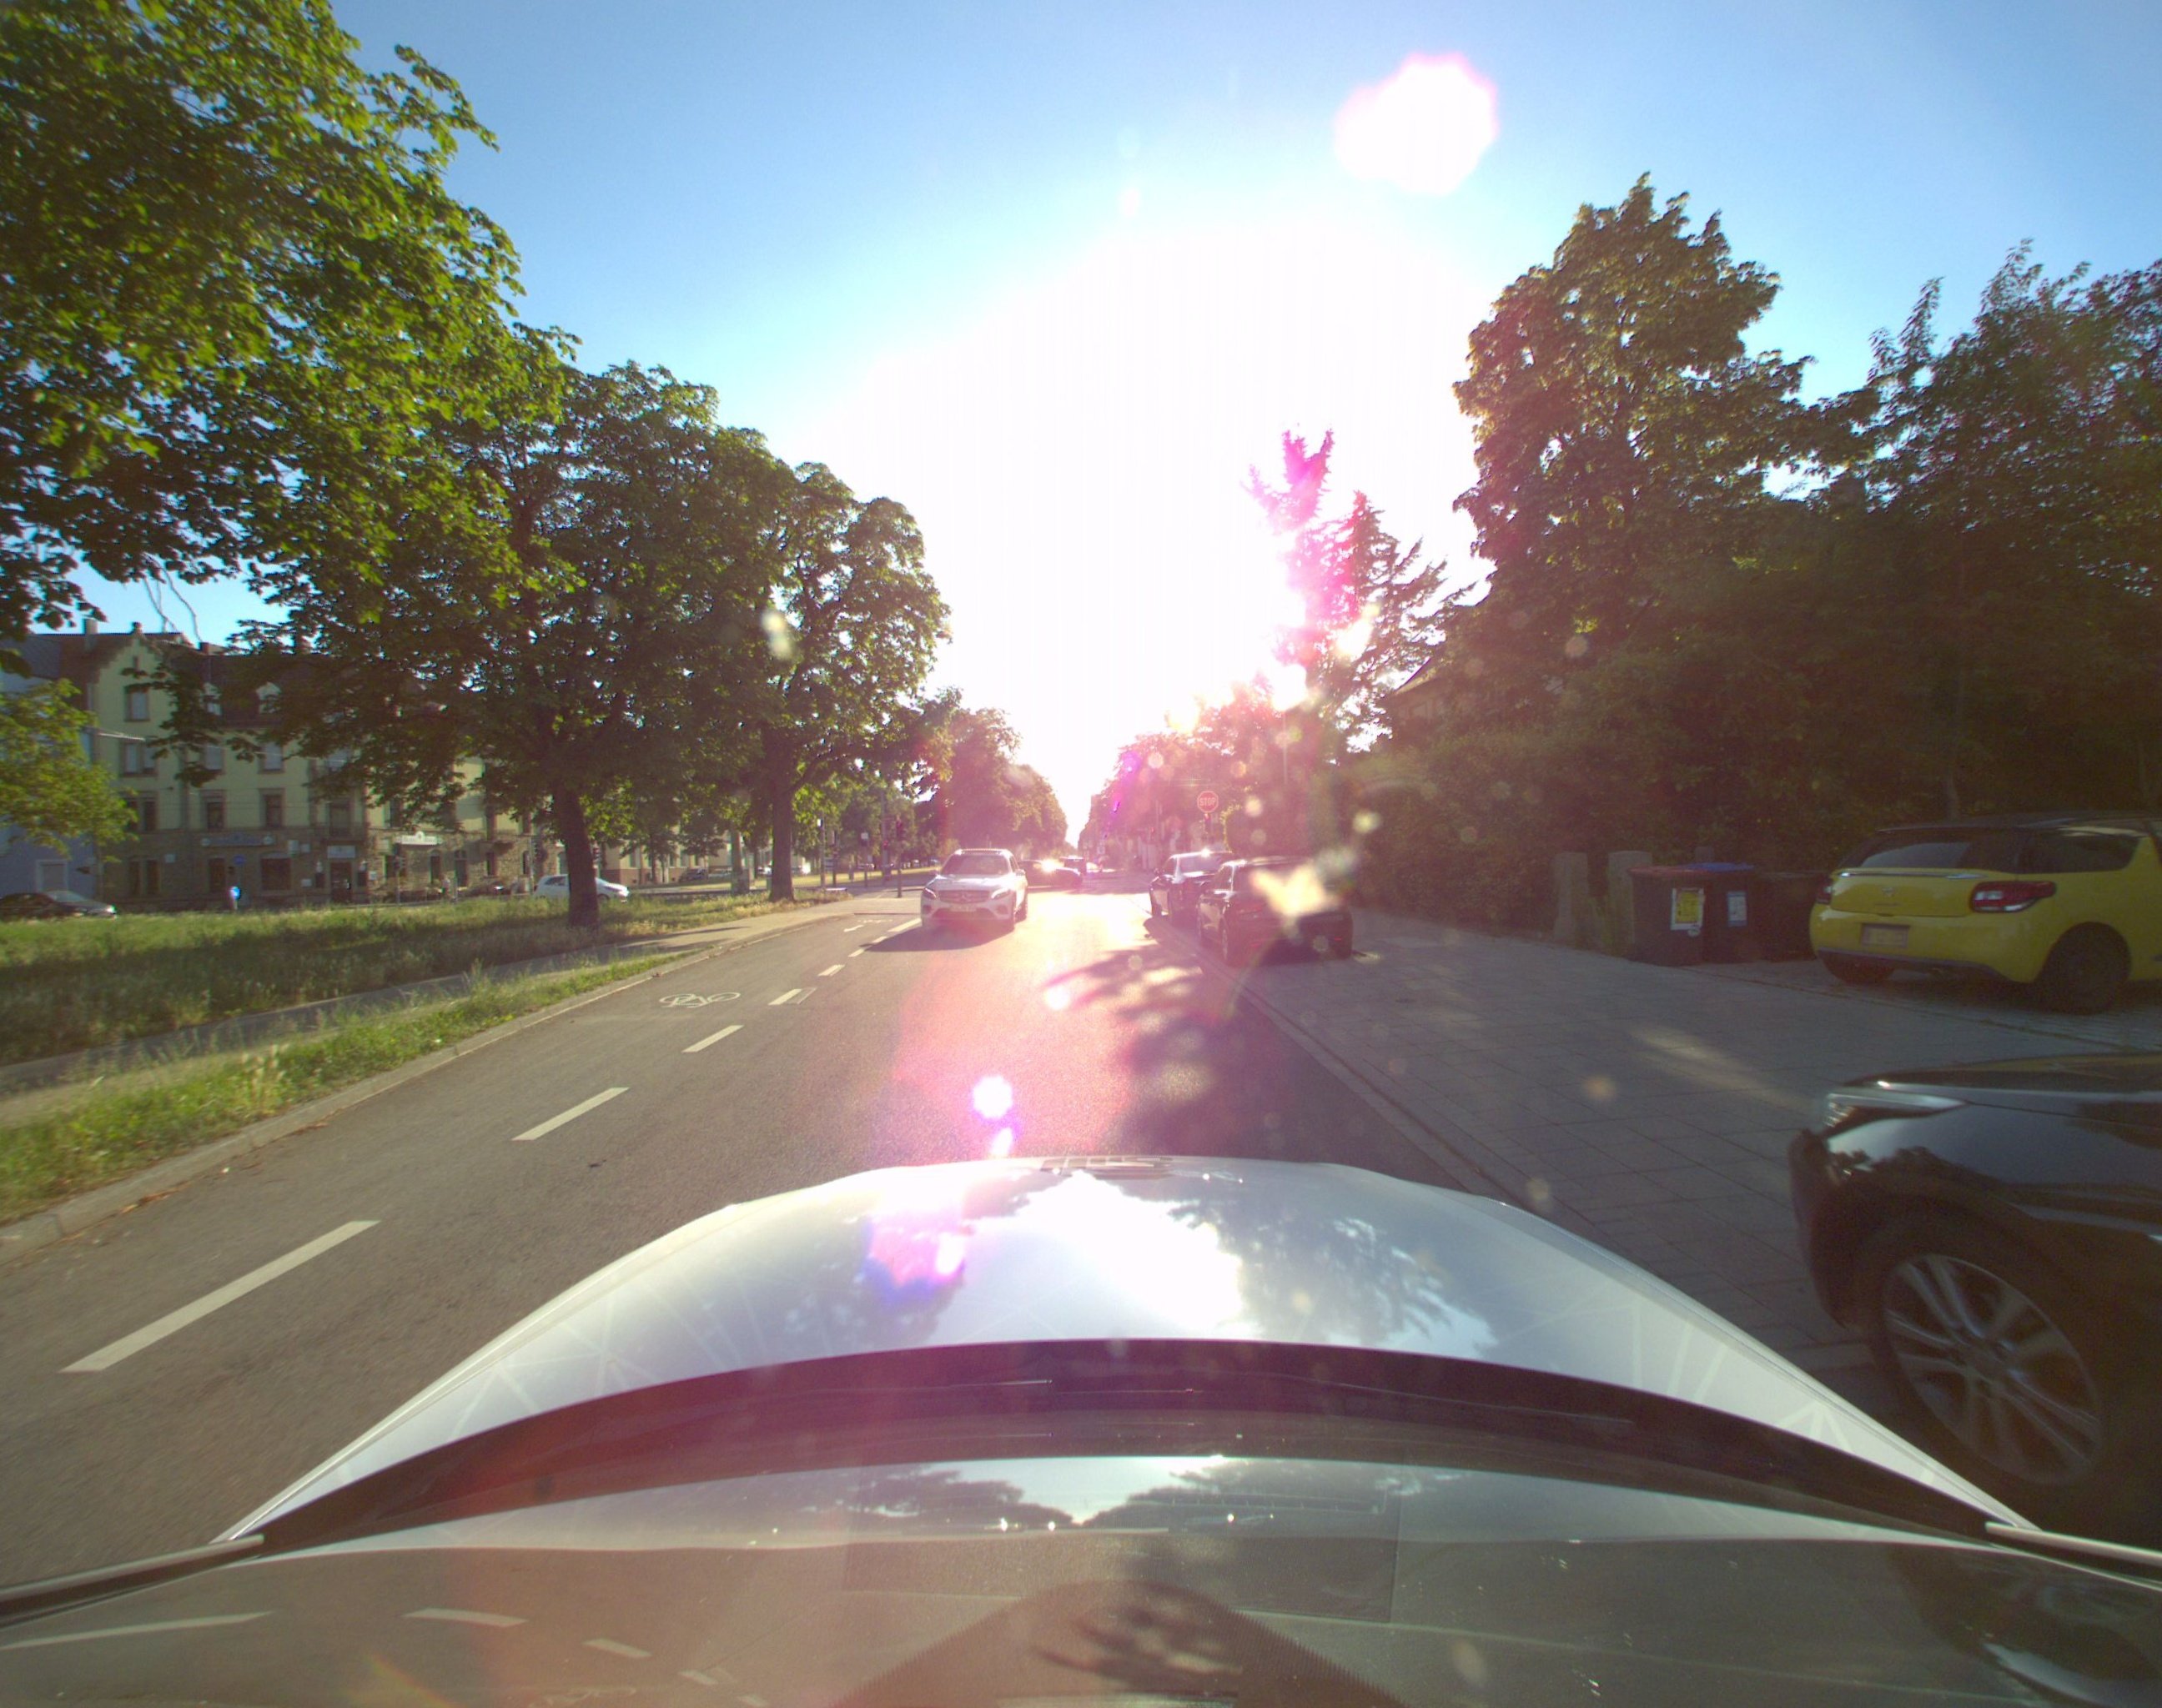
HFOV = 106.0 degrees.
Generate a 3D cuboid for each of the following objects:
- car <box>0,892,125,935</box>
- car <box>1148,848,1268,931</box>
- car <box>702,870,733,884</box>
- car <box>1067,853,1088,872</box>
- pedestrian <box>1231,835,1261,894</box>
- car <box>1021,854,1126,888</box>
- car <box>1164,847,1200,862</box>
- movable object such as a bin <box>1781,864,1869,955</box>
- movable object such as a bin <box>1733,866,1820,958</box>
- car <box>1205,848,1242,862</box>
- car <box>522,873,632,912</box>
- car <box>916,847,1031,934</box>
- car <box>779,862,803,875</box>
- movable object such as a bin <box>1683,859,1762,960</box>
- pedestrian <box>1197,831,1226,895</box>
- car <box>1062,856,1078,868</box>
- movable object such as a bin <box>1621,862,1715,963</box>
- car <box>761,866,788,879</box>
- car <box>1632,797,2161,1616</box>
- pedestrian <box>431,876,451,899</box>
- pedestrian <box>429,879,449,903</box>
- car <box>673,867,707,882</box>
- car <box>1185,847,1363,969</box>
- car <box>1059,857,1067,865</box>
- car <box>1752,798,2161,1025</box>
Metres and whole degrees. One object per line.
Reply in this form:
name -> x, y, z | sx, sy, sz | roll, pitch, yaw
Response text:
car -> -40.691, 2.335, 32.092 | 3.600, 1.497, 1.605 | -2, 0, -14
car -> 2.651, 0.685, 18.122 | 1.853, 1.542, 4.872 | -2, 0, 0
car -> -43.605, 2.726, 97.767 | 1.729, 1.427, 3.799 | -1, 1, 6
car -> -0.265, 0.701, 68.981 | 1.635, 1.451, 3.309 | -2, 0, 2
pedestrian -> 4.868, 0.295, 24.049 | 0.667, 1.708, 0.622 | -1, 0, -4
car -> -0.386, 0.787, 39.179 | 4.768, 1.434, 1.807 | -2, 0, -12
car -> 11.151, 0.014, 90.285 | 3.768, 1.525, 1.743 | -2, 1, -1
movable object such as a bin -> 8.136, 0.589, 8.920 | 0.507, 0.944, 0.489 | -1, 0, -6
movable object such as a bin -> 7.548, 0.618, 8.851 | 0.507, 0.944, 0.501 | -1, 0, -6
car -> 15.758, 0.066, 90.155 | 3.657, 1.427, 1.529 | -2, 0, -5
car -> -21.921, 1.654, 35.549 | 3.689, 1.488, 1.734 | -1, 0, -12
car -> -2.222, 0.704, 18.042 | 1.884, 1.676, 4.425 | -1, 0, 1
car -> -38.044, 1.890, 106.970 | 1.732, 1.427, 3.792 | -2, 1, 0
movable object such as a bin -> 6.962, 0.588, 8.847 | 0.507, 1.043, 0.416 | -1, 0, -6
pedestrian -> 3.877, 0.270, 24.243 | 0.669, 1.865, 0.880 | -1, 0, -4
car -> -1.396, 1.021, 102.950 | 1.839, 1.394, 3.828 | -1, 0, 0
movable object such as a bin -> 6.401, 0.616, 8.901 | 0.507, 1.043, 0.657 | -1, 0, -6
car -> -37.918, 2.233, 100.836 | 1.732, 1.427, 3.792 | -2, 0, 0
car -> 2.828, 0.608, 0.664 | 1.741, 1.474, 4.253 | -4, 0, -1
pedestrian -> -45.701, 2.383, 58.175 | 0.808, 1.642, 0.727 | -2, 0, 8
pedestrian -> -45.141, 2.619, 57.289 | 0.722, 1.642, 0.814 | -2, 0, -6
car -> -43.914, 2.309, 91.516 | 1.729, 1.397, 3.799 | -1, 1, 6
car -> 2.687, 0.676, 12.239 | 1.636, 1.427, 3.935 | -4, 0, -1
car -> -4.989, 1.966, 223.031 | 2.127, 2.013, 3.901 | -2, 0, 0
car -> 8.083, 0.353, 6.703 | 3.623, 1.496, 1.780 | -4, 0, -1
